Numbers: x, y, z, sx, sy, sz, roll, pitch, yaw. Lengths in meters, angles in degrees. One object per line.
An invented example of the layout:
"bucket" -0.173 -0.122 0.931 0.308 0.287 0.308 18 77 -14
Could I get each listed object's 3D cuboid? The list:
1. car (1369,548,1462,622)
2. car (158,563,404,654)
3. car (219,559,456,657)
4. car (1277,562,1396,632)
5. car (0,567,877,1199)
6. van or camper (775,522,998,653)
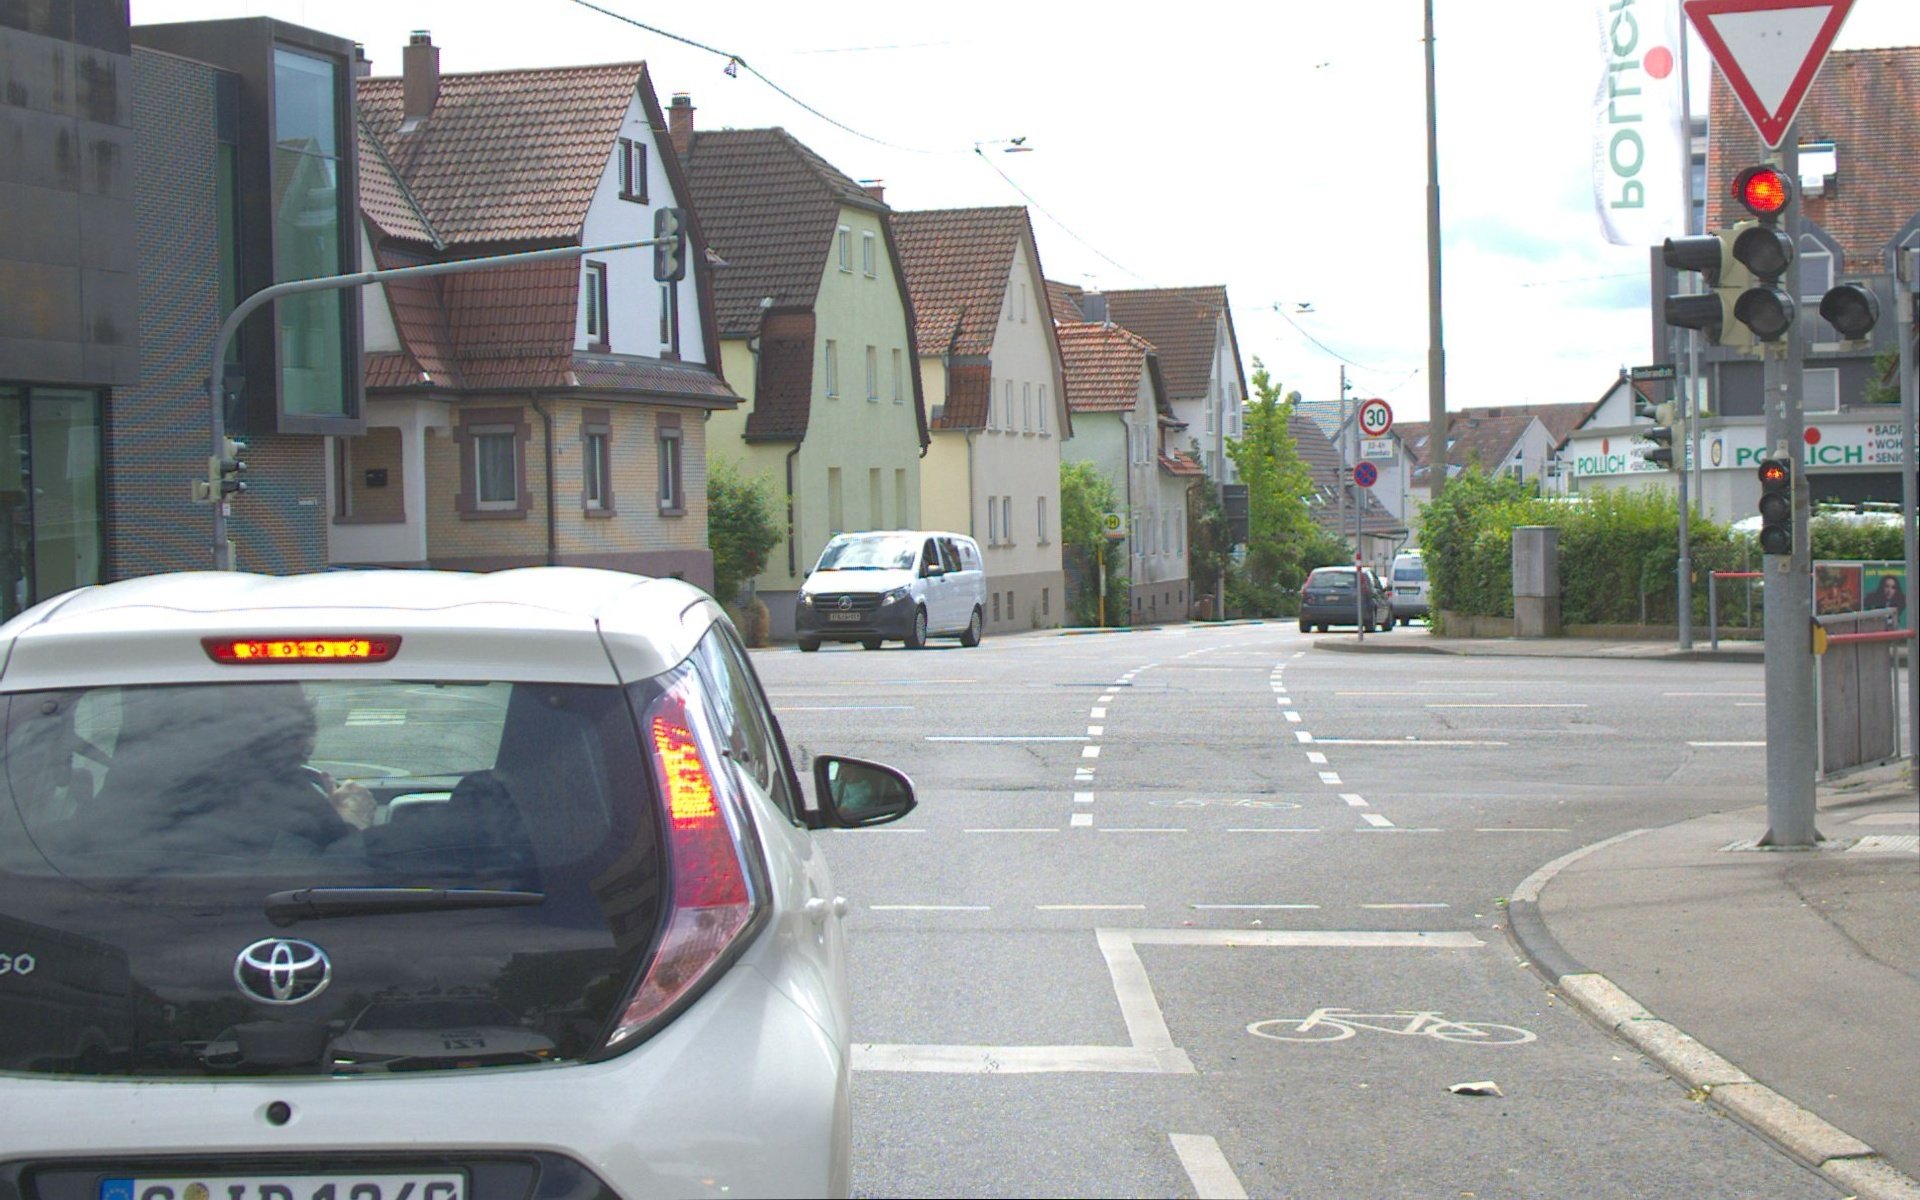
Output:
"car" 11.695 -0.405 88.013 1.995 1.842 4.071 1 1 13
"car" -11.196 0.124 56.767 3.616 1.414 1.691 1 1 11
"car" -10.639 0.124 58.891 3.616 1.600 1.691 1 1 11
"car" 8.364 -0.082 76.138 1.995 1.481 3.997 1 1 16
"car" -1.037 0.682 6.296 1.697 1.451 3.299 1 1 -2
"van or camper" -1.078 -0.217 53.821 2.117 1.919 5.282 1 1 15
